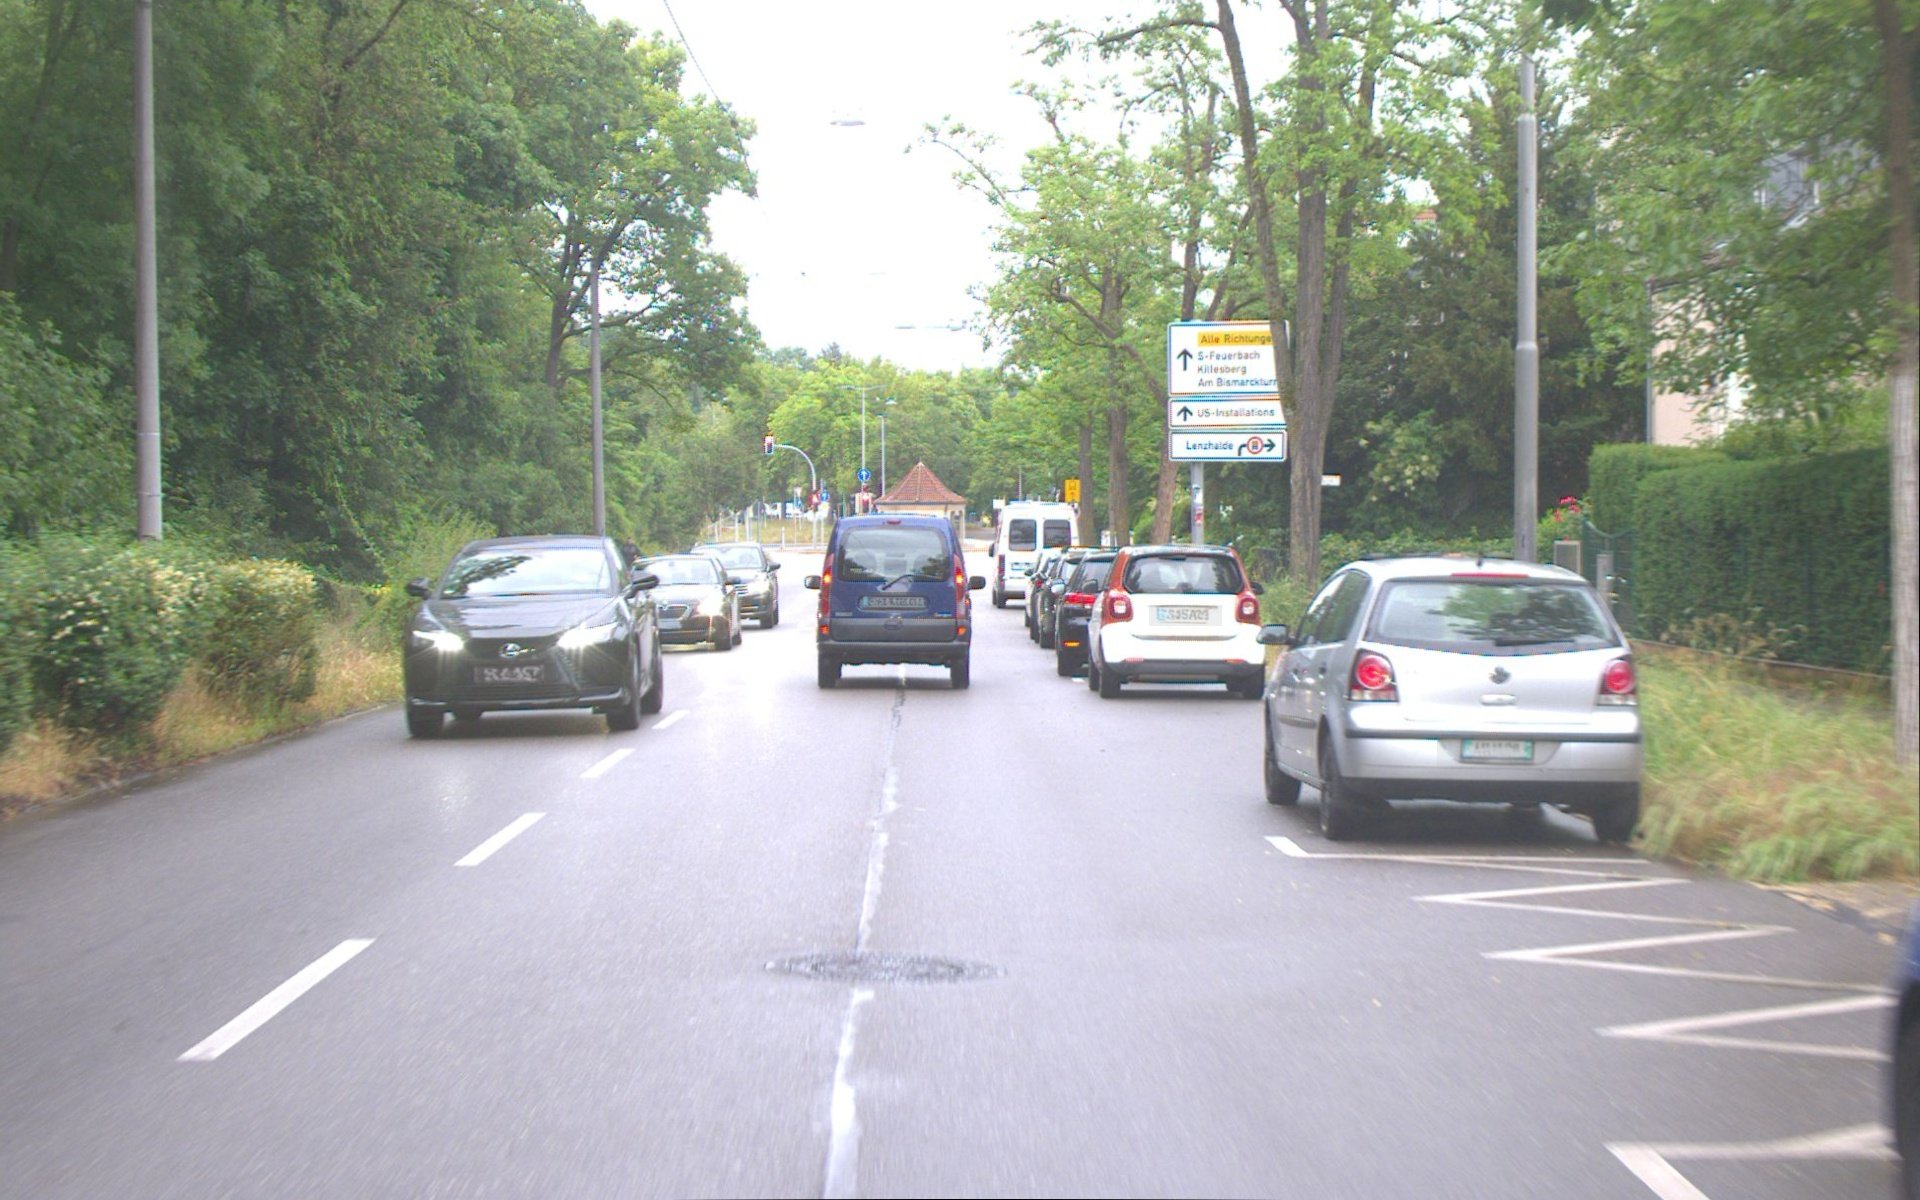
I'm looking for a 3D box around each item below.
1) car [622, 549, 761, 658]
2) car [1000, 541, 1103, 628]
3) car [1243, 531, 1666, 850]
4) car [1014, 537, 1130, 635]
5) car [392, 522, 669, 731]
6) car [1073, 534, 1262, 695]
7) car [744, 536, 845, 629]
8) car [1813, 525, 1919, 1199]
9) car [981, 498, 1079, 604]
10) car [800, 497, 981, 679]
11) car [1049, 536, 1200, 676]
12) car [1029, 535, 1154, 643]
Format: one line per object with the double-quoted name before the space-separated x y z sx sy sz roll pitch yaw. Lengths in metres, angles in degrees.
"car" -4.013 0.015 52.100 1.728 1.438 5.113 -2 2 -1
"car" 1.680 -0.316 64.398 1.698 1.519 3.868 1 1 -1
"car" 2.613 0.414 18.991 1.618 1.503 3.835 1 2 -2
"car" 1.841 -0.259 57.605 1.698 1.519 3.868 1 1 -1
"car" -3.571 0.160 29.301 1.804 1.541 4.432 -2 2 -1
"car" 2.083 0.115 35.162 1.633 1.504 2.958 1 2 -2
"car" -3.113 -0.360 65.214 1.723 1.610 4.155 -1 2 0
"car" 2.770 0.669 5.575 1.721 1.500 4.050 1 2 0
"car" 1.651 -1.183 82.505 2.205 2.441 4.729 0 1 -1
"car" -0.796 -0.177 37.056 1.766 1.824 3.543 1 2 -3
"car" 1.945 0.033 41.240 1.698 1.519 3.867 1 2 2
"car" 1.951 -0.195 52.055 1.698 1.519 4.211 1 1 0
